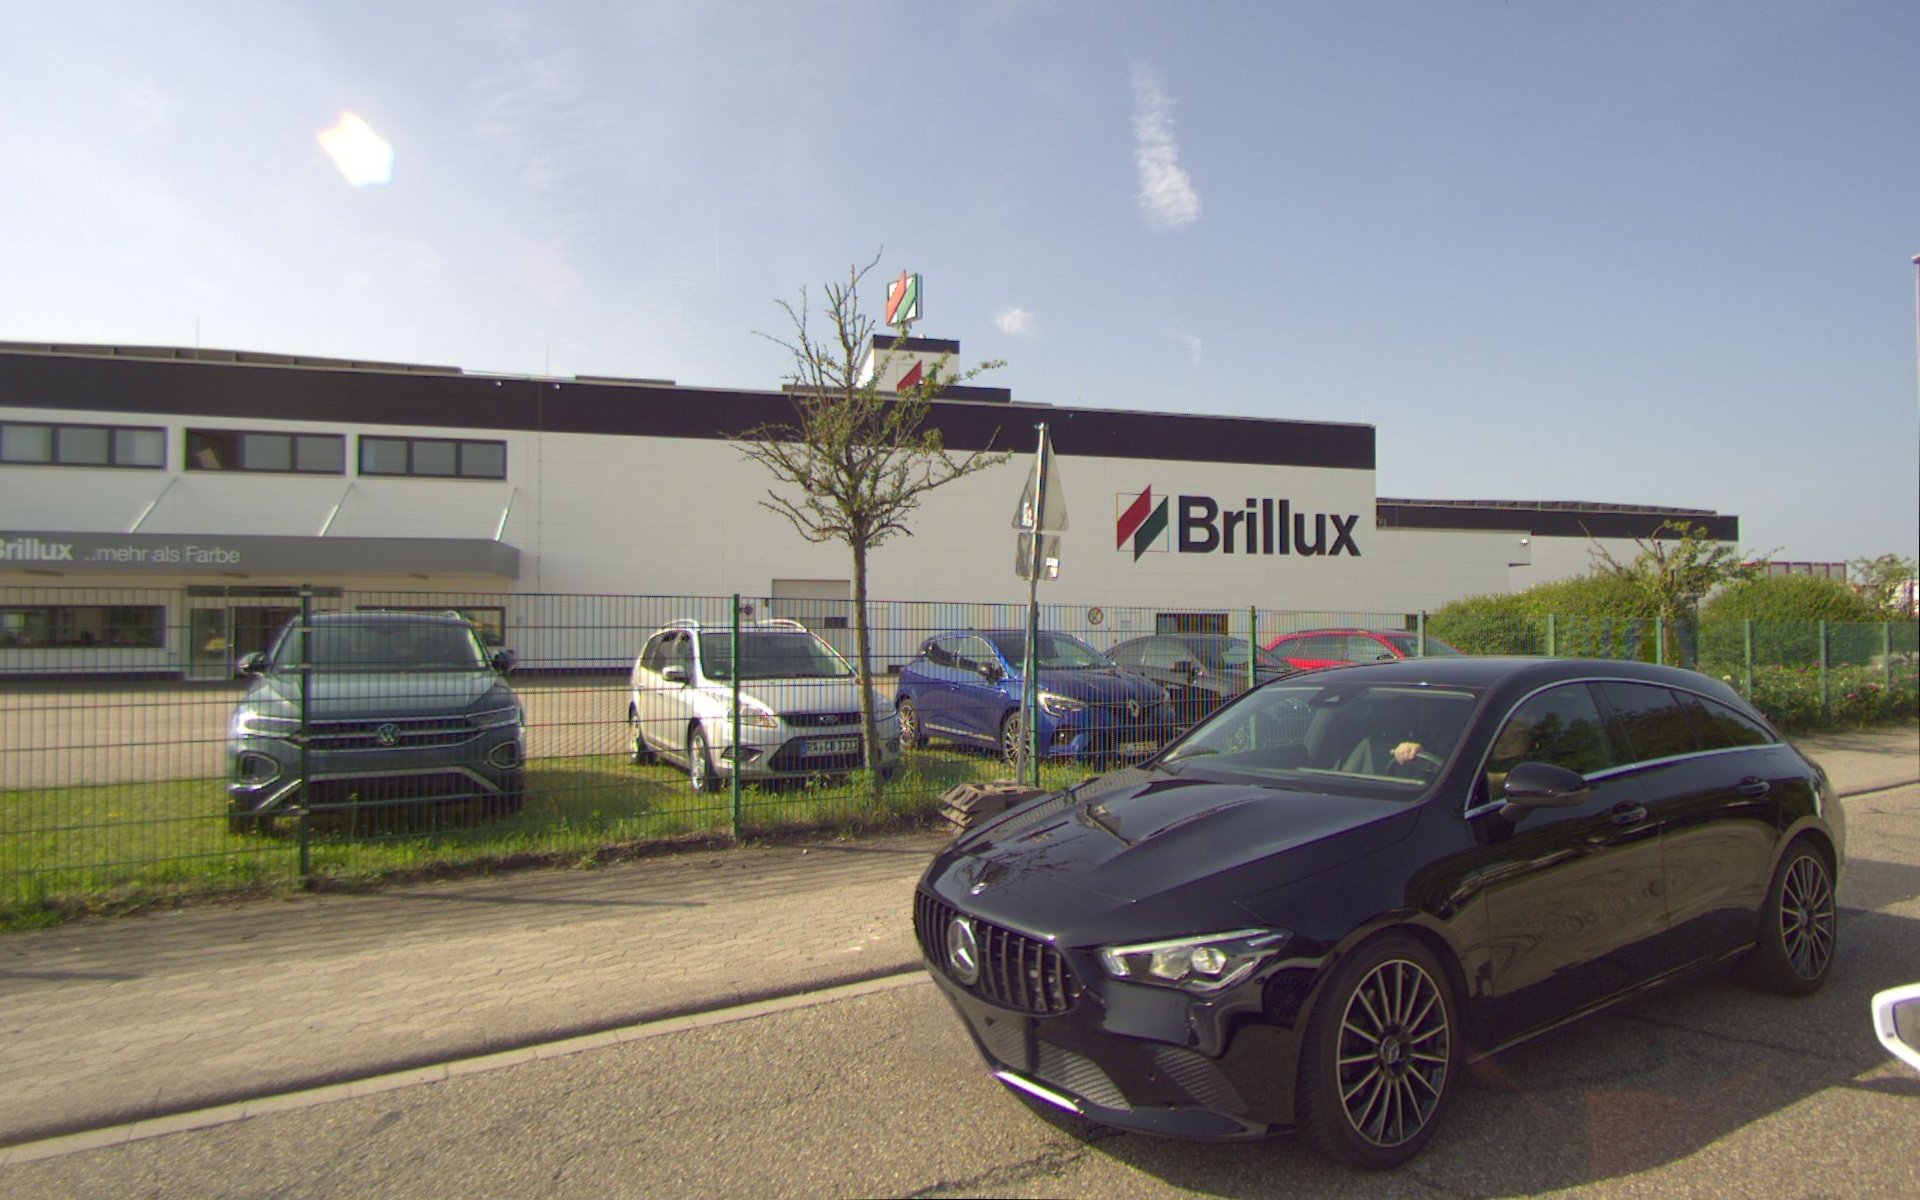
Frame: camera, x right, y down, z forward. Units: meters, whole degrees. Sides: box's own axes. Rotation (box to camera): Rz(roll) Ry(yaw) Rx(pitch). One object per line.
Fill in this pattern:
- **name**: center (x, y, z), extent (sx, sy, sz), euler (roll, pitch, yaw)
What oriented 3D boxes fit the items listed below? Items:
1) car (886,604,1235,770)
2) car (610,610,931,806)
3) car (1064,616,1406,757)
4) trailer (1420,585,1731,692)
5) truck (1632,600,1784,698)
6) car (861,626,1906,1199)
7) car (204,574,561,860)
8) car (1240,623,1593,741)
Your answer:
- **car**: center (0.880, 0.902, 11.083), extent (1.852, 1.463, 4.023), euler (1, -4, -30)
- **car**: center (-2.041, 0.938, 9.742), extent (1.852, 1.463, 4.023), euler (1, -4, -30)
- **car**: center (3.252, 1.035, 12.682), extent (1.852, 1.463, 4.023), euler (1, -4, -30)
- **trailer**: center (26.464, 1.713, 43.050), extent (13.654, 4.095, 2.483), euler (2, 0, -14)
- **truck**: center (33.357, 2.152, 44.844), extent (5.451, 4.125, 2.513), euler (2, 0, -15)
- **car**: center (1.971, 0.908, 4.355), extent (4.370, 1.468, 1.984), euler (1, -4, -32)
- **car**: center (-4.417, 0.783, 7.852), extent (1.843, 1.588, 4.109), euler (1, -4, -30)
- **car**: center (6.536, 1.170, 14.962), extent (1.929, 1.463, 4.516), euler (1, -4, -30)
